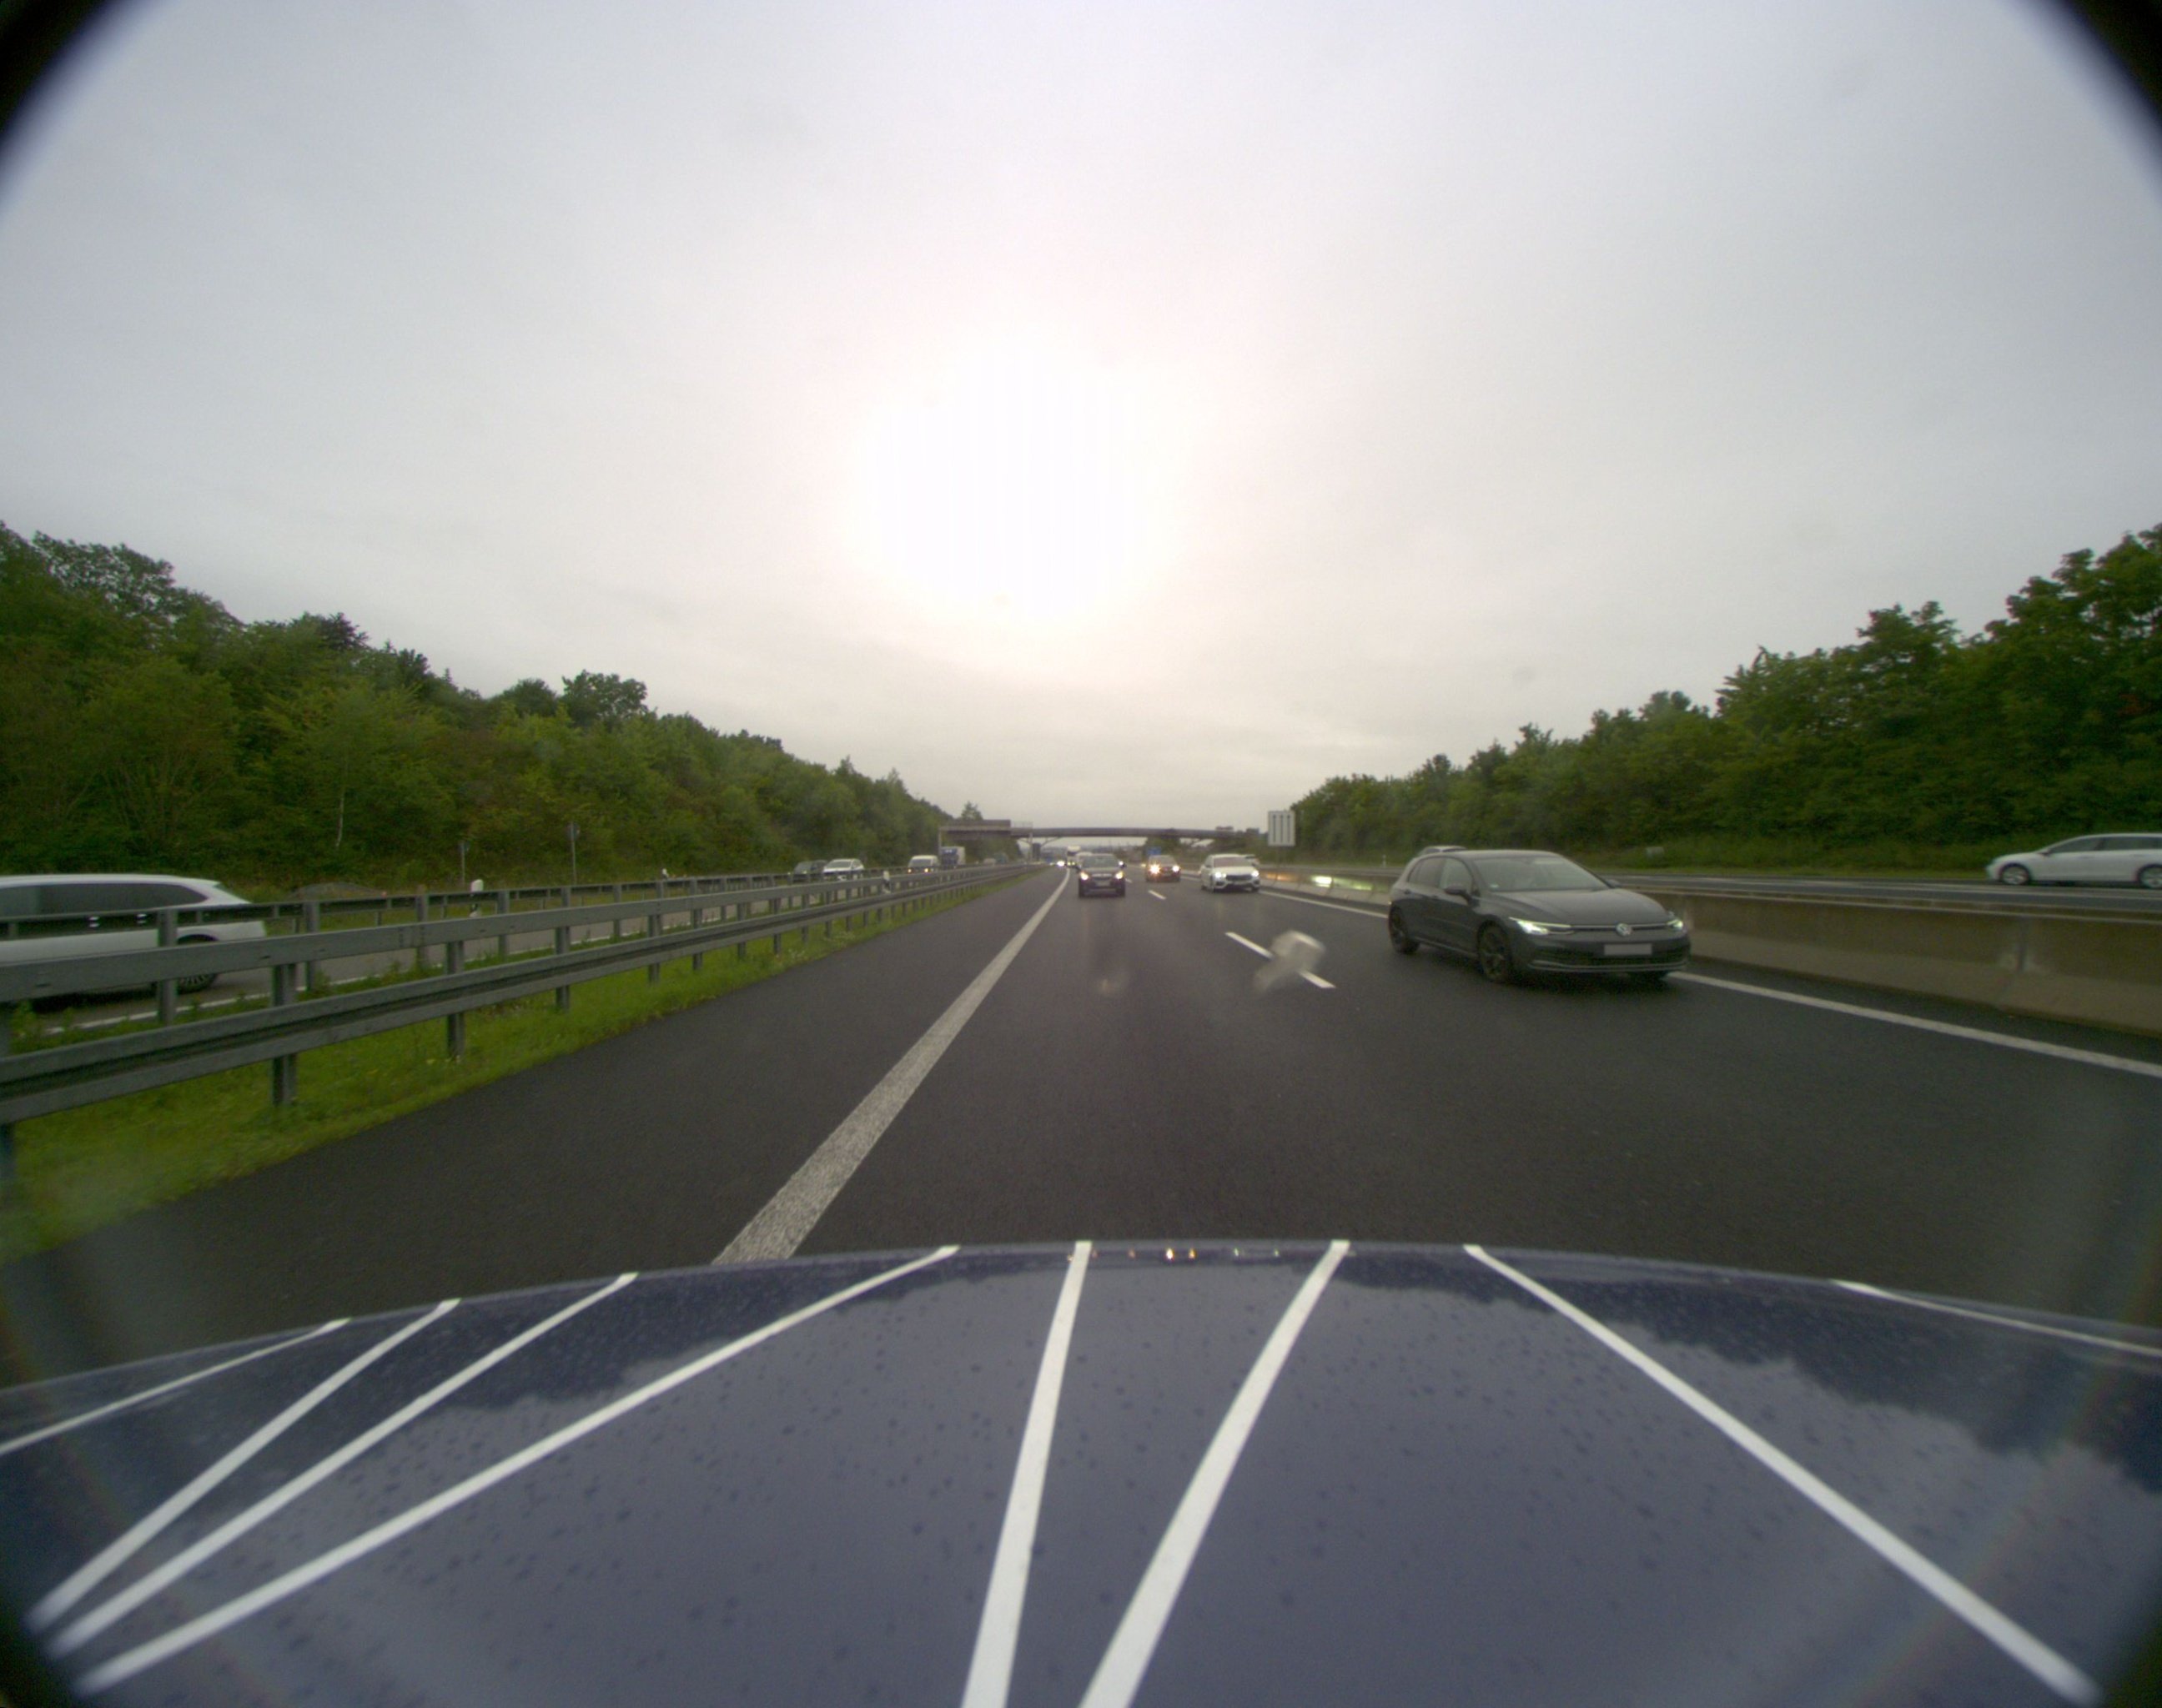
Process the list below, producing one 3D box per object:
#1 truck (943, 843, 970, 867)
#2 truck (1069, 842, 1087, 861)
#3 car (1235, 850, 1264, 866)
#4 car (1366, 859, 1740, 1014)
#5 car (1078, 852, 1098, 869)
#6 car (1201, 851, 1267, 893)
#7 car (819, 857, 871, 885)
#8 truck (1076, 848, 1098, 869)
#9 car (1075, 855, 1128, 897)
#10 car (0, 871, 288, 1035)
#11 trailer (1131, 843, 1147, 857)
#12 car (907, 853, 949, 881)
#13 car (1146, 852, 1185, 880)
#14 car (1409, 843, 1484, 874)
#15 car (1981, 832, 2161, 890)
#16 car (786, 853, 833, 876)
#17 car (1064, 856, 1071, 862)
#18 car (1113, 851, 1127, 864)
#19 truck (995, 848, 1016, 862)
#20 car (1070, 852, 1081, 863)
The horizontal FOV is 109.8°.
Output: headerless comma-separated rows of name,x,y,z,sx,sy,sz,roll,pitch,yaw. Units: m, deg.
truck,-18.863,0.070,115.572,2.909,3.397,9.279,-2,0,-3
truck,-0.557,-0.514,147.391,3.153,3.332,13.100,-2,0,1
car,16.821,0.404,75.962,1.987,1.497,4.140,-1,0,1
car,5.331,0.796,9.463,1.905,1.397,4.459,-1,0,1
car,0.755,0.619,77.609,1.825,1.669,4.000,-2,0,3
car,6.008,0.669,30.244,1.905,1.497,4.114,-1,0,2
car,-14.604,1.034,47.304,1.901,1.603,4.145,-1,0,0
truck,0.750,0.522,84.470,2.175,2.214,5.643,-1,0,2
car,0.837,0.827,30.081,1.905,1.497,4.114,-1,0,2
car,-11.709,1.041,7.885,2.013,1.539,4.695,-2,0,-1
trailer,16.850,-1.157,222.458,3.268,4.059,13.843,-1,0,-1
car,-10.815,0.870,53.983,2.013,1.804,4.276,-1,0,0
car,4.750,0.665,43.422,1.905,1.497,4.114,-1,0,2
car,20.703,0.228,43.249,2.185,1.625,4.537,-1,0,2
car,27.741,0.155,20.220,2.187,1.421,4.385,-2,0,-8
car,-21.718,0.834,60.972,1.998,1.725,4.642,-2,0,1
car,-4.062,1.500,230.827,1.917,1.671,4.000,-2,0,2
car,5.306,0.489,103.409,1.715,1.724,4.000,-2,0,0
truck,-18.259,0.160,185.139,2.908,3.397,13.356,-2,0,4
car,-0.911,0.607,123.020,1.715,1.724,4.000,-2,0,0
